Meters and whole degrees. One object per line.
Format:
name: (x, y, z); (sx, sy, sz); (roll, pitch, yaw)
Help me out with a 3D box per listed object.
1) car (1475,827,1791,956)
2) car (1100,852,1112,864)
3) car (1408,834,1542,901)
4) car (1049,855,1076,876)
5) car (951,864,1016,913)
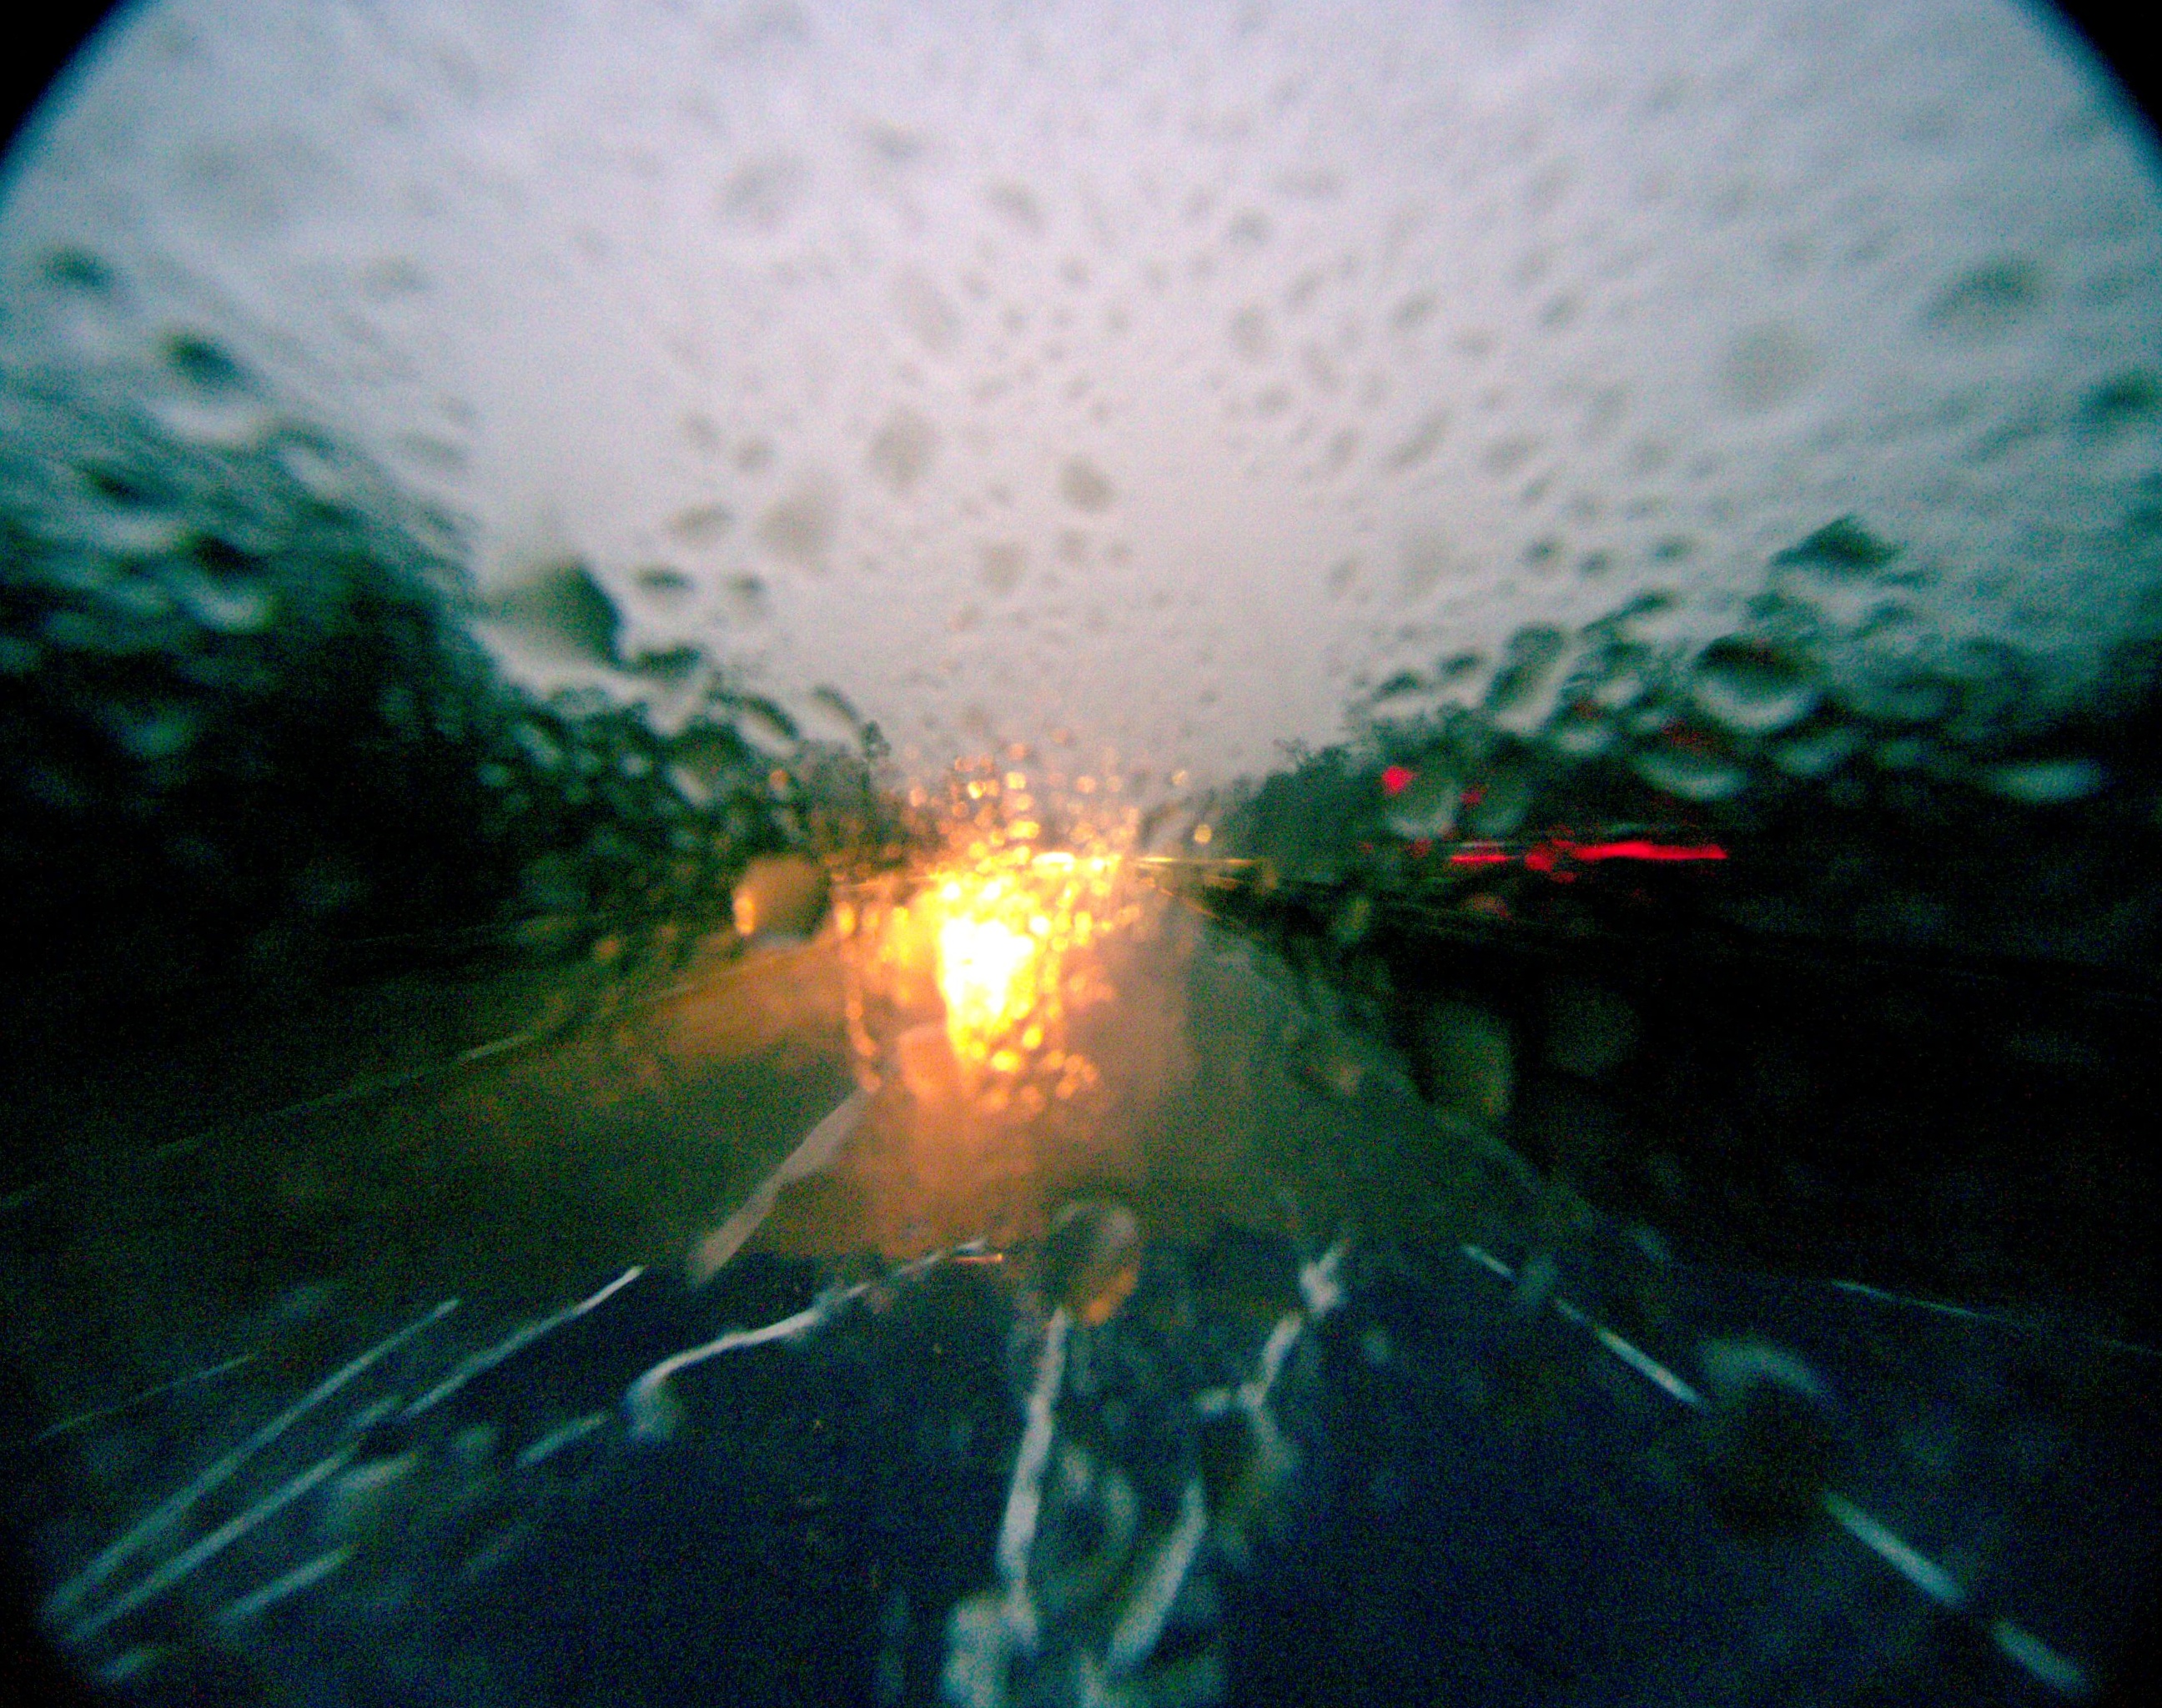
car: (7.206, 0.391, 10.515); (1.547, 1.388, 4.123); (-2, 1, 3)
car: (3.789, 0.637, 115.729); (1.690, 1.718, 3.787); (-2, 0, 1)
car: (11.550, 0.336, 22.645); (1.724, 1.737, 4.425); (-2, 1, 1)
car: (-1.392, 0.840, 57.611); (1.741, 1.441, 4.000); (-2, 1, 3)
car: (-3.117, 1.067, 24.772); (1.603, 1.358, 3.305); (-2, 0, 1)
